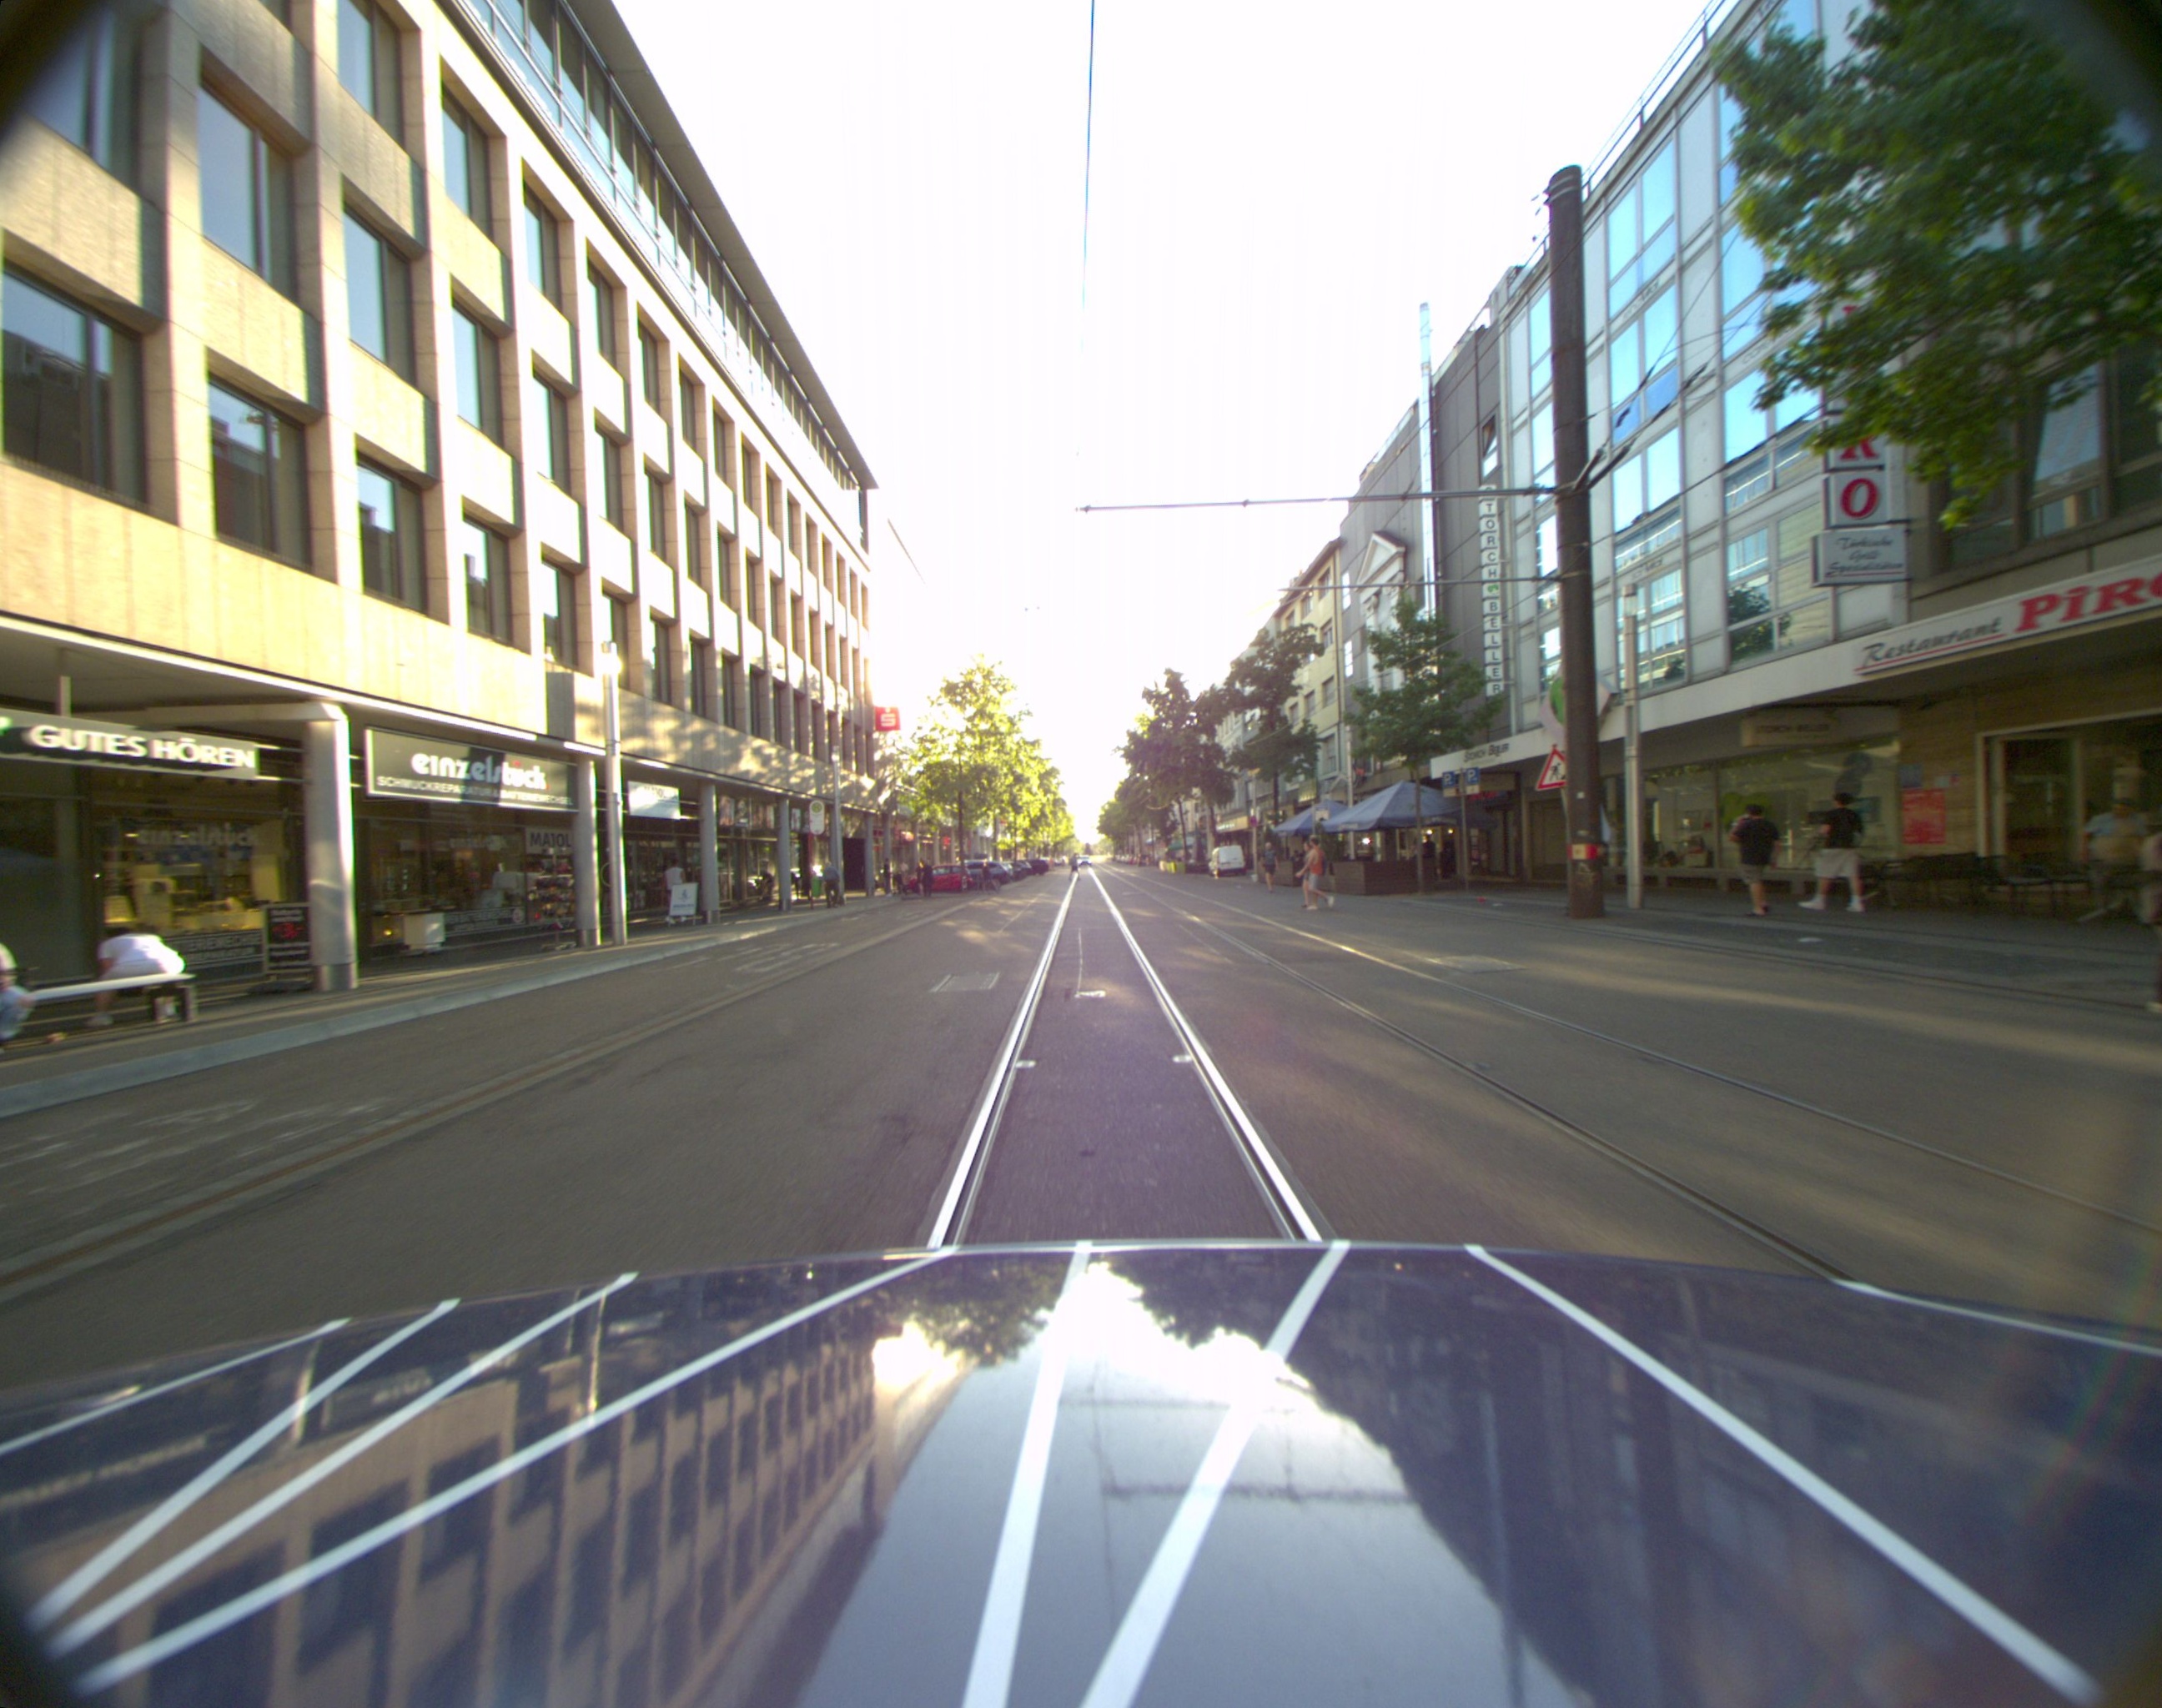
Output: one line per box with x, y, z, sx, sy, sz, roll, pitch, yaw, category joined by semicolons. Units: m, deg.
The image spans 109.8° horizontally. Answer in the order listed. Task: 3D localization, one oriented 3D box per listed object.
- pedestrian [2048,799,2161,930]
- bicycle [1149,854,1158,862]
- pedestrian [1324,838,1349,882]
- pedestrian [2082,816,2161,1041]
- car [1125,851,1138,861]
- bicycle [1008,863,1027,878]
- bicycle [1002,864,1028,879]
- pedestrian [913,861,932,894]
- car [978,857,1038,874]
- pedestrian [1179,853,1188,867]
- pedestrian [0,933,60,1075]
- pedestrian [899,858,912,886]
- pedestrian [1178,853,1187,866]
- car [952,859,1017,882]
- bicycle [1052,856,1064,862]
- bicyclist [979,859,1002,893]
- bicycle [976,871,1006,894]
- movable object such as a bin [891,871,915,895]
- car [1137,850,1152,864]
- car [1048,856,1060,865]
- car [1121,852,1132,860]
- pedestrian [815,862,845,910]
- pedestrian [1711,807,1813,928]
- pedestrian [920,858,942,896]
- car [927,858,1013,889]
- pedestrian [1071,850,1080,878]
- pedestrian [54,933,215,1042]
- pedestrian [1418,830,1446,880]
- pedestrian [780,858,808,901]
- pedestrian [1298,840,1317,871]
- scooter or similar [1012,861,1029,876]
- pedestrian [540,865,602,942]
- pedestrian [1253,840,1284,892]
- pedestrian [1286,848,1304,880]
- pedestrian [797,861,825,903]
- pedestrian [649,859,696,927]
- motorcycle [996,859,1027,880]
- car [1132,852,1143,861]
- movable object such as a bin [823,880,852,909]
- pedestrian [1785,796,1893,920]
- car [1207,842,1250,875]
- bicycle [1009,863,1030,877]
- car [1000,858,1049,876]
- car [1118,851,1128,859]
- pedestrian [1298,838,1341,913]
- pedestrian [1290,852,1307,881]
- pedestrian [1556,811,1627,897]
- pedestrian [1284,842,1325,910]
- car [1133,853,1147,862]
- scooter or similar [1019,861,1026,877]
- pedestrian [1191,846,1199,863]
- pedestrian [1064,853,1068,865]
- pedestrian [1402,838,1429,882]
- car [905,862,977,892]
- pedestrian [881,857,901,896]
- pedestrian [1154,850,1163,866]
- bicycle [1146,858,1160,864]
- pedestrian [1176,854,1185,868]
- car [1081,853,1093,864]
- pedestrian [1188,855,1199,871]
12.772;0.112;9.345;0.624;1.517;0.809;-4;0;1;pedestrian
11.149;0.586;116.518;0.760;1.115;2.045;-5;0;-11;bicycle
10.289;0.248;30.630;0.719;1.714;0.675;-3;1;-1;pedestrian
7.774;0.508;5.203;0.624;1.541;0.852;-4;0;1;pedestrian
9.416;0.353;141.718;1.870;1.679;4.950;-5;0;-3;car
-5.049;1.317;60.647;0.480;1.156;1.698;2;1;40;bicycle
-5.112;1.354;58.699;1.899;1.113;0.666;0;1;-29;bicycle
-7.444;1.097;35.689;0.606;1.543;0.691;1;1;44;pedestrian
-6.602;1.071;68.589;5.071;1.460;1.972;1;0;-35;car
9.857;0.558;73.155;0.709;1.339;0.781;-4;1;3;pedestrian
-9.693;1.329;6.553;0.668;1.191;0.785;-3;0;5;pedestrian
-11.147;1.123;48.164;0.626;1.733;0.600;-1;1;3;pedestrian
9.894;0.530;74.031;0.691;1.304;0.807;-4;0;1;pedestrian
-6.809;1.125;53.738;4.167;1.562;1.849;0;0;-33;car
-4.794;1.117;157.422;2.325;1.181;0.751;-2;0;2;bicycle
-4.503;1.080;37.871;0.778;1.603;0.913;-4;0;14;bicyclist
-4.477;1.401;37.772;0.719;0.989;2.061;-4;0;15;bicycle
-8.257;1.345;35.166;0.687;1.057;0.835;0;0;42;movable object such as a bin
9.206;0.381;109.808;1.862;1.821;4.559;-3;0;2;car
-5.097;1.235;143.357;1.985;1.678;4.873;0;0;0;car
9.629;0.426;160.293;1.897;1.458;4.617;-5;0;1;car
-8.338;1.055;25.289;0.683;1.563;0.632;-4;0;1;pedestrian
10.422;0.204;11.667;0.624;1.737;0.933;-4;0;1;pedestrian
-6.819;1.035;34.589;0.679;1.675;0.697;0;1;34;pedestrian
-6.145;1.062;42.196;4.363;1.642;1.690;0;0;-31;car
-0.376;0.694;51.840;0.584;1.907;0.663;0;1;2;pedestrian
-10.098;1.408;8.131;0.838;1.025;0.696;-3;0;5;pedestrian
12.614;0.049;27.302;0.598;1.735;0.671;-4;1;1;pedestrian
-12.291;1.087;32.542;0.846;1.773;0.782;-2;0;1;pedestrian
12.843;0.086;43.175;0.668;1.676;1.005;-4;0;0;pedestrian
-5.239;1.271;65.410;1.309;1.269;0.563;1;1;-31;scooter or similar
-11.699;1.115;17.459;0.746;1.690;0.858;-3;0;1;pedestrian
6.713;0.427;27.264;0.843;1.790;0.790;-4;1;1;pedestrian
9.748;0.434;34.615;0.551;1.421;0.582;-3;1;0;pedestrian
-10.524;1.095;29.613;0.697;1.580;0.925;-2;0;1;pedestrian
-11.165;1.057;20.798;0.746;1.782;0.858;-3;0;1;pedestrian
-5.227;1.149;57.131;2.324;1.501;0.856;0;1;-43;motorcycle
9.838;0.396;132.276;1.664;1.397;4.141;-5;0;1;car
-8.266;1.379;25.858;0.691;0.918;0.718;-4;0;1;movable object such as a bin
11.602;0.061;11.664;0.624;1.793;0.933;-4;0;1;pedestrian
9.198;0.282;47.746;1.800;1.853;4.553;-5;0;1;car
-5.082;1.340;62.896;1.566;1.082;0.867;1;-1;-30;bicycle
-5.826;1.329;78.384;4.674;1.753;1.990;0;0;-29;car
9.854;0.319;179.654;1.952;1.731;4.765;-5;0;0;car
5.755;0.510;18.317;0.850;1.731;0.836;-4;1;20;pedestrian
9.535;0.530;33.303;0.496;1.221;0.535;-3;1;0;pedestrian
12.050;0.004;17.983;0.803;1.912;1.071;-5;0;-3;pedestrian
5.663;0.551;19.218;0.850;1.628;0.763;-4;1;20;pedestrian
9.563;0.572;123.287;1.722;1.238;4.507;-5;0;0;car
-4.968;1.270;64.452;0.452;1.269;1.306;2;0;-1;scooter or similar
12.363;0.022;82.246;0.685;1.805;0.765;-4;1;16;pedestrian
-2.386;0.767;120.798;0.705;1.858;0.792;-3;1;-2;pedestrian
12.020;0.203;27.310;0.598;1.524;0.671;-4;1;1;pedestrian
-7.233;1.138;39.173;3.401;1.472;1.664;0;0;-19;car
-8.677;1.021;34.700;0.687;1.721;0.634;1;1;42;pedestrian
8.596;0.440;83.899;0.759;1.781;0.686;-4;1;-3;pedestrian
9.585;0.911;101.271;1.799;0.605;1.282;-3;0;4;bicycle
8.845;0.600;67.814;0.620;1.237;0.697;-5;1;0;pedestrian
0.999;0.721;119.957;1.827;1.603;3.796;-2;0;1;car
8.969;0.693;60.854;0.658;1.186;0.798;-5;0;0;pedestrian
